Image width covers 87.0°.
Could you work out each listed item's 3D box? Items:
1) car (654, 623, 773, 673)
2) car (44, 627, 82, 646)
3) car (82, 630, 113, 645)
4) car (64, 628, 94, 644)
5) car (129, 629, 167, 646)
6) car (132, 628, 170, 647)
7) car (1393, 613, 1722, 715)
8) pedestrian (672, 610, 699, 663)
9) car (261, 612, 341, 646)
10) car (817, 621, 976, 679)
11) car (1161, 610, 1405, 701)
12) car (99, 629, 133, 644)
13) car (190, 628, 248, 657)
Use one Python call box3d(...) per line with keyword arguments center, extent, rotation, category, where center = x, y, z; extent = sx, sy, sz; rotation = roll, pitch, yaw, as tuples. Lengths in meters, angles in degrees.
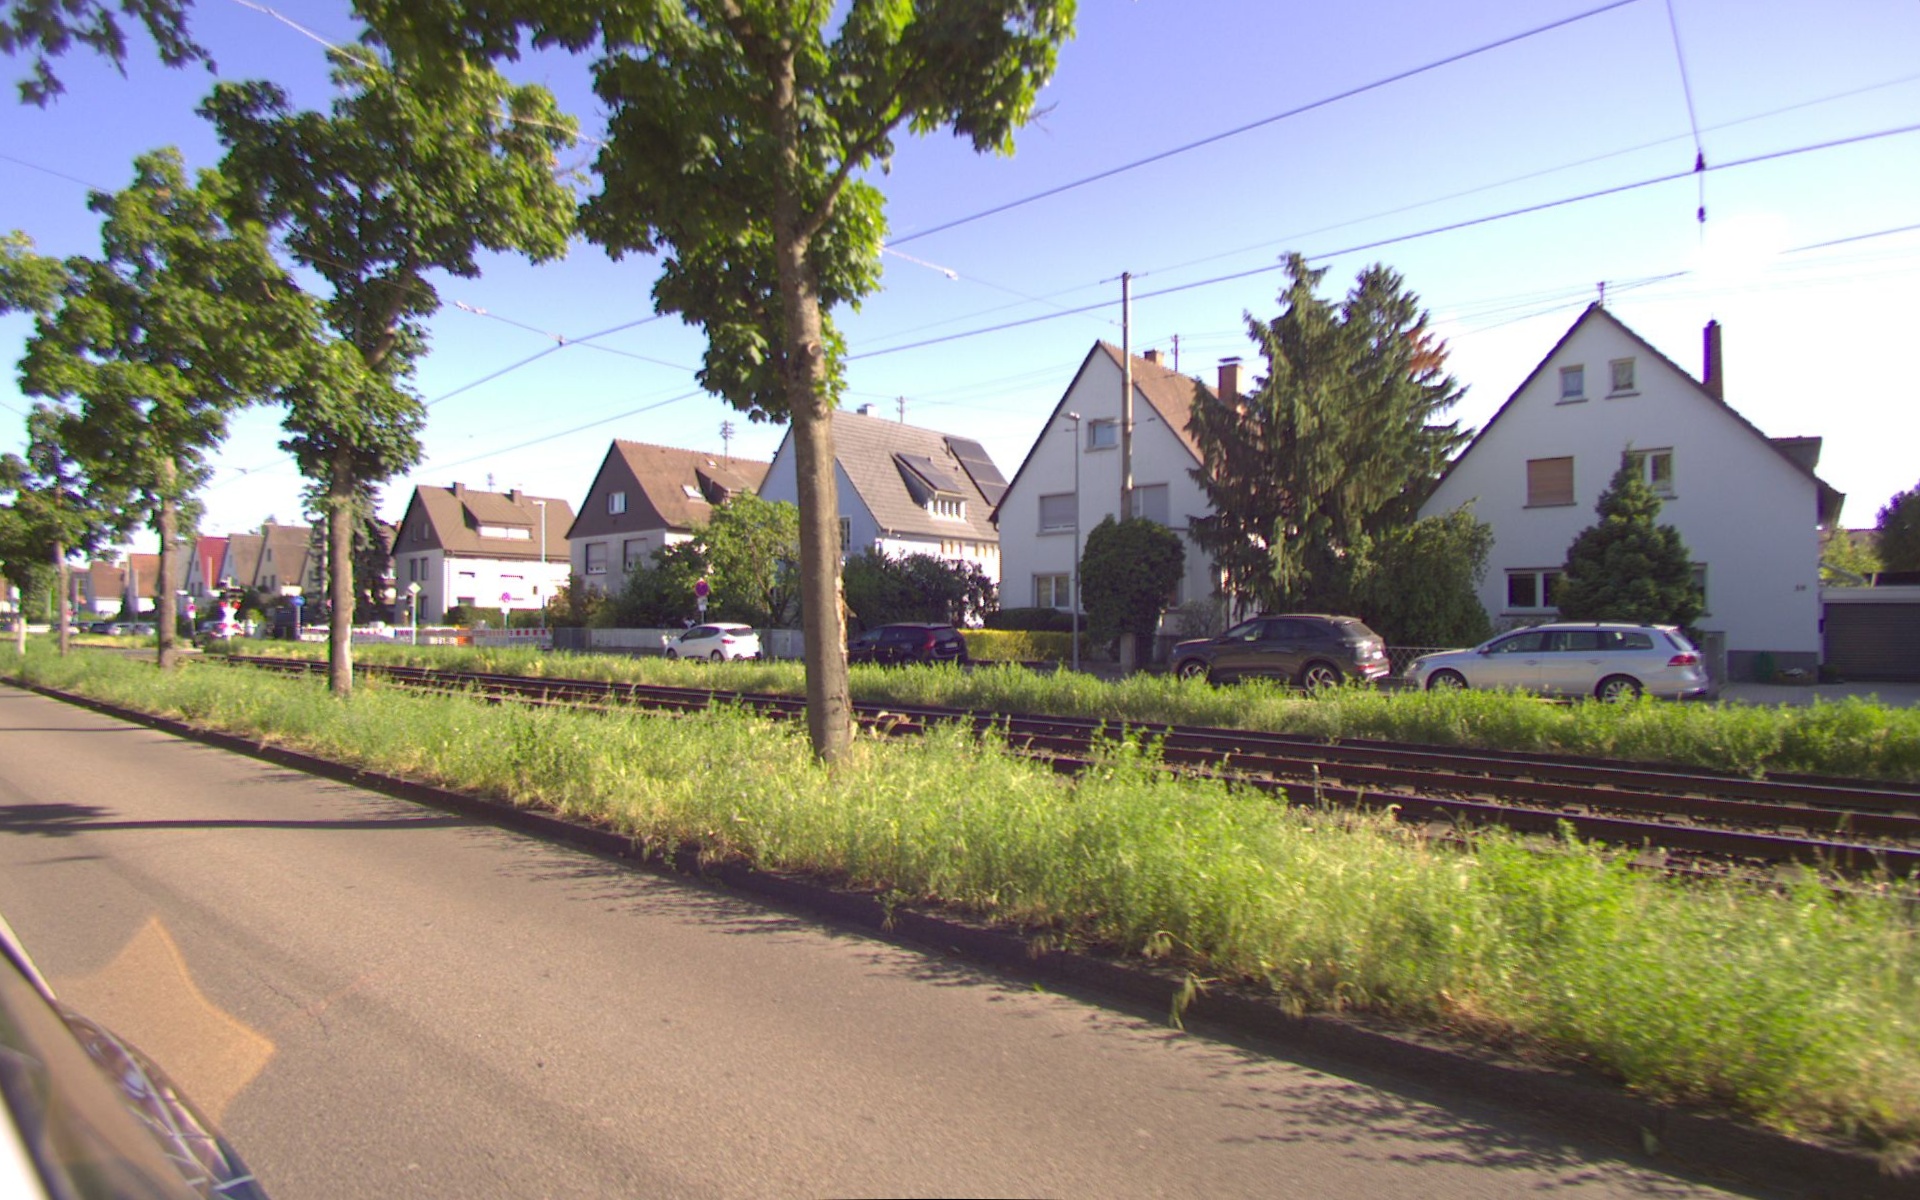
box3d(center=(-8.459, 1.587, 34.609), extent=(4.225, 1.553, 1.841), rotation=(-1, 0, 41), category="car")
box3d(center=(-81.995, 3.305, 92.483), extent=(4.470, 1.616, 1.973), rotation=(-1, 0, 41), category="car")
box3d(center=(-92.329, 4.019, 108.302), extent=(4.253, 1.506, 1.906), rotation=(-1, 0, 41), category="car")
box3d(center=(-99.056, 3.994, 113.822), extent=(4.388, 1.726, 1.973), rotation=(-1, 0, 41), category="car")
box3d(center=(-75.059, 3.445, 93.560), extent=(4.125, 1.460, 1.973), rotation=(-1, 2, 41), category="car")
box3d(center=(-71.709, 3.298, 89.696), extent=(4.054, 1.565, 1.927), rotation=(-1, 0, 41), category="car")
box3d(center=(10.569, 1.039, 18.133), extent=(4.778, 1.557, 1.973), rotation=(-1, 0, 41), category="car")
box3d(center=(-10.620, 1.396, 39.108), extent=(0.772, 2.029, 0.674), rotation=(-1, -1, 40), category="pedestrian")
box3d(center=(-52.216, 2.294, 80.251), extent=(2.101, 2.645, 4.977), rotation=(-2, -2, 40), category="car")
box3d(center=(-1.872, 1.365, 28.580), extent=(4.599, 1.477, 1.711), rotation=(-1, 0, 41), category="car")
box3d(center=(6.647, 1.084, 21.141), extent=(4.552, 1.663, 1.730), rotation=(-1, 0, 41), category="car")
box3d(center=(-82.348, 3.548, 98.686), extent=(4.410, 1.437, 1.972), rotation=(-1, 0, 43), category="car")
box3d(center=(-42.648, 2.413, 58.183), extent=(4.807, 1.564, 1.643), rotation=(-1, 0, 41), category="car")
